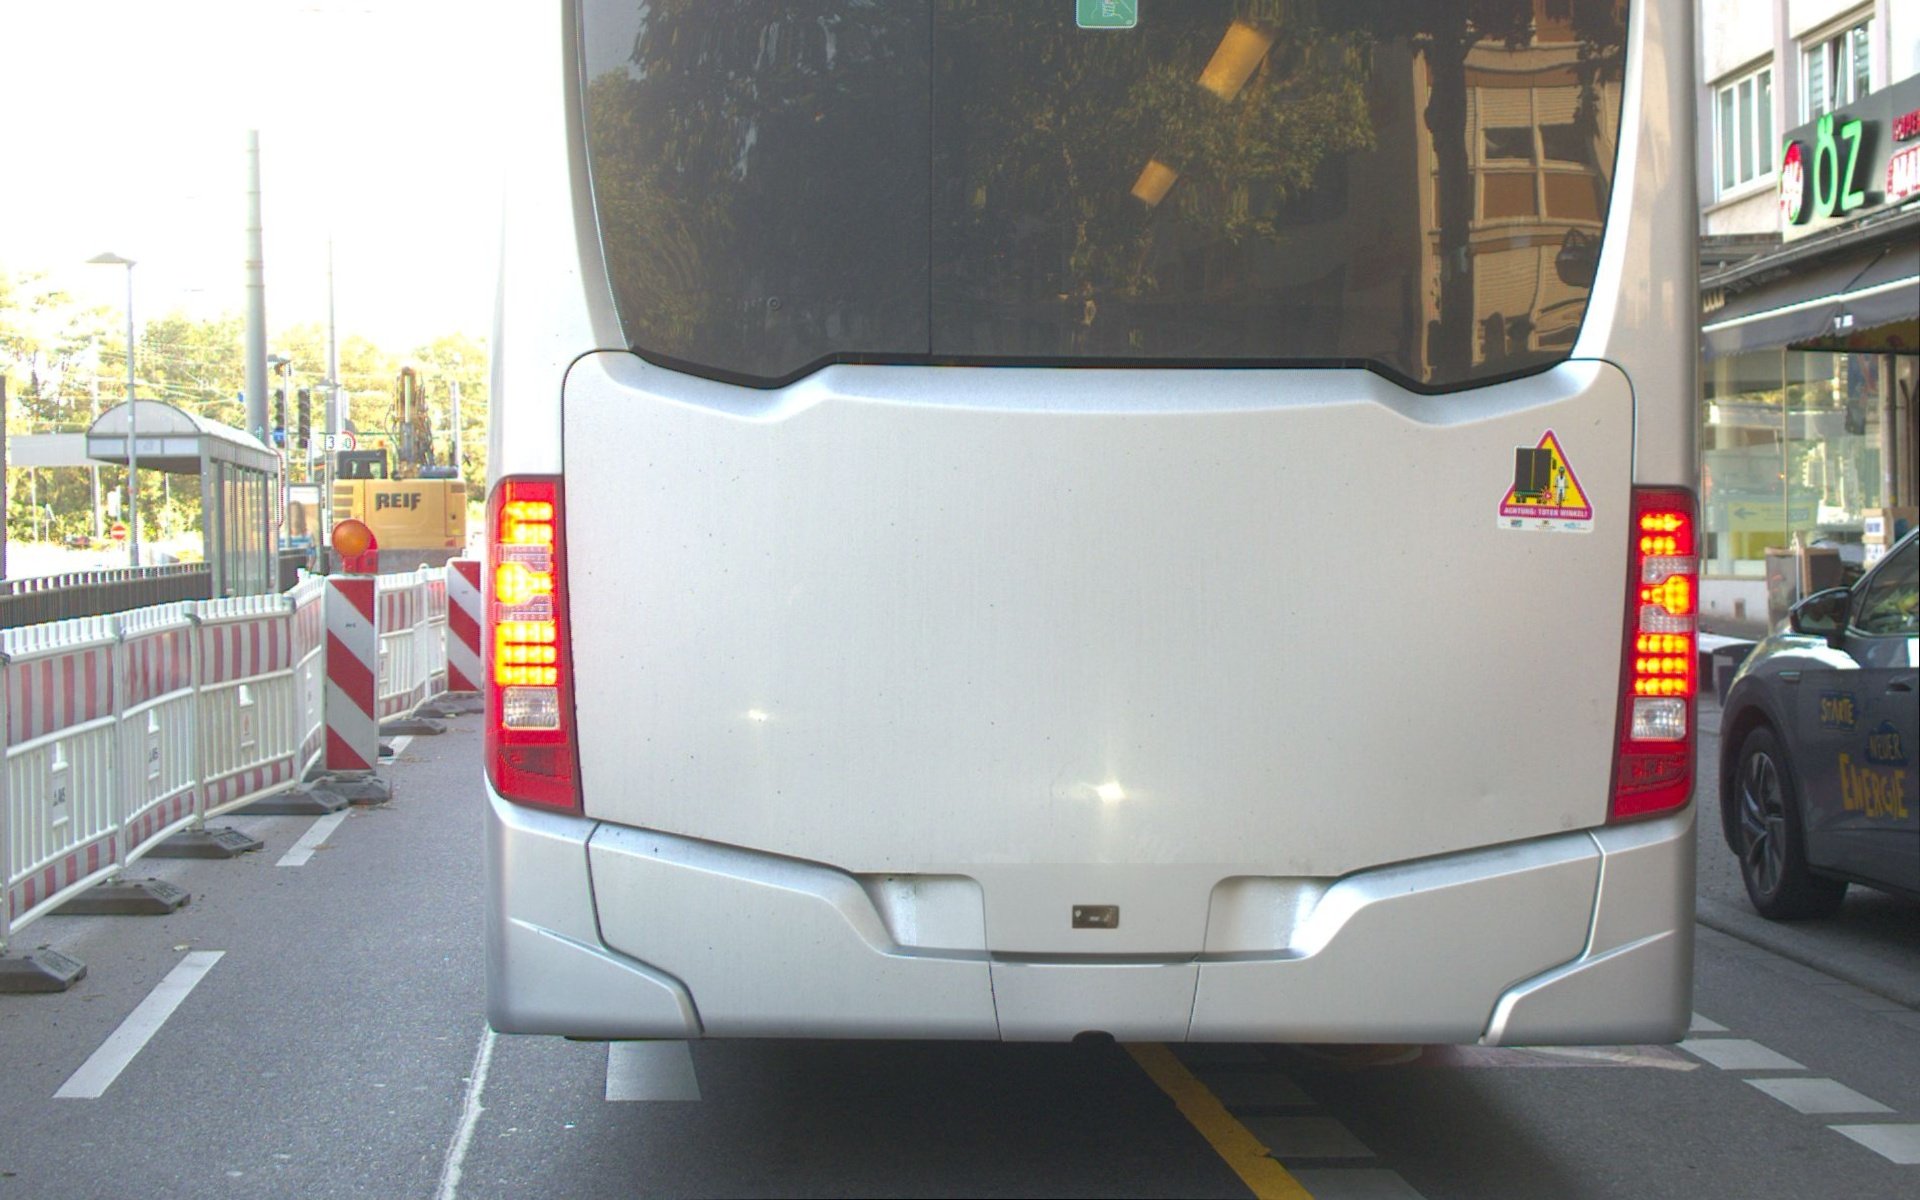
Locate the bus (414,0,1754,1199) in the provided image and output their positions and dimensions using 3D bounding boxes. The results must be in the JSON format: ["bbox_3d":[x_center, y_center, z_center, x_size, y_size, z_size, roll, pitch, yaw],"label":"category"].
[{"bbox_3d":[0.225,-0.347,11.849,2.608,3.159,10.292,0,1,0],"label":"bus"}]

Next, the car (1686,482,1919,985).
[{"bbox_3d":[3.895,0.390,11.139,1.739,1.592,4.300,-3,2,-5],"label":"car"}]

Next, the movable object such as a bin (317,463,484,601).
[{"bbox_3d":[-10.422,-1.281,64.389,2.806,2.453,4.001,-1,1,-6],"label":"movable object such as a bin"}]
